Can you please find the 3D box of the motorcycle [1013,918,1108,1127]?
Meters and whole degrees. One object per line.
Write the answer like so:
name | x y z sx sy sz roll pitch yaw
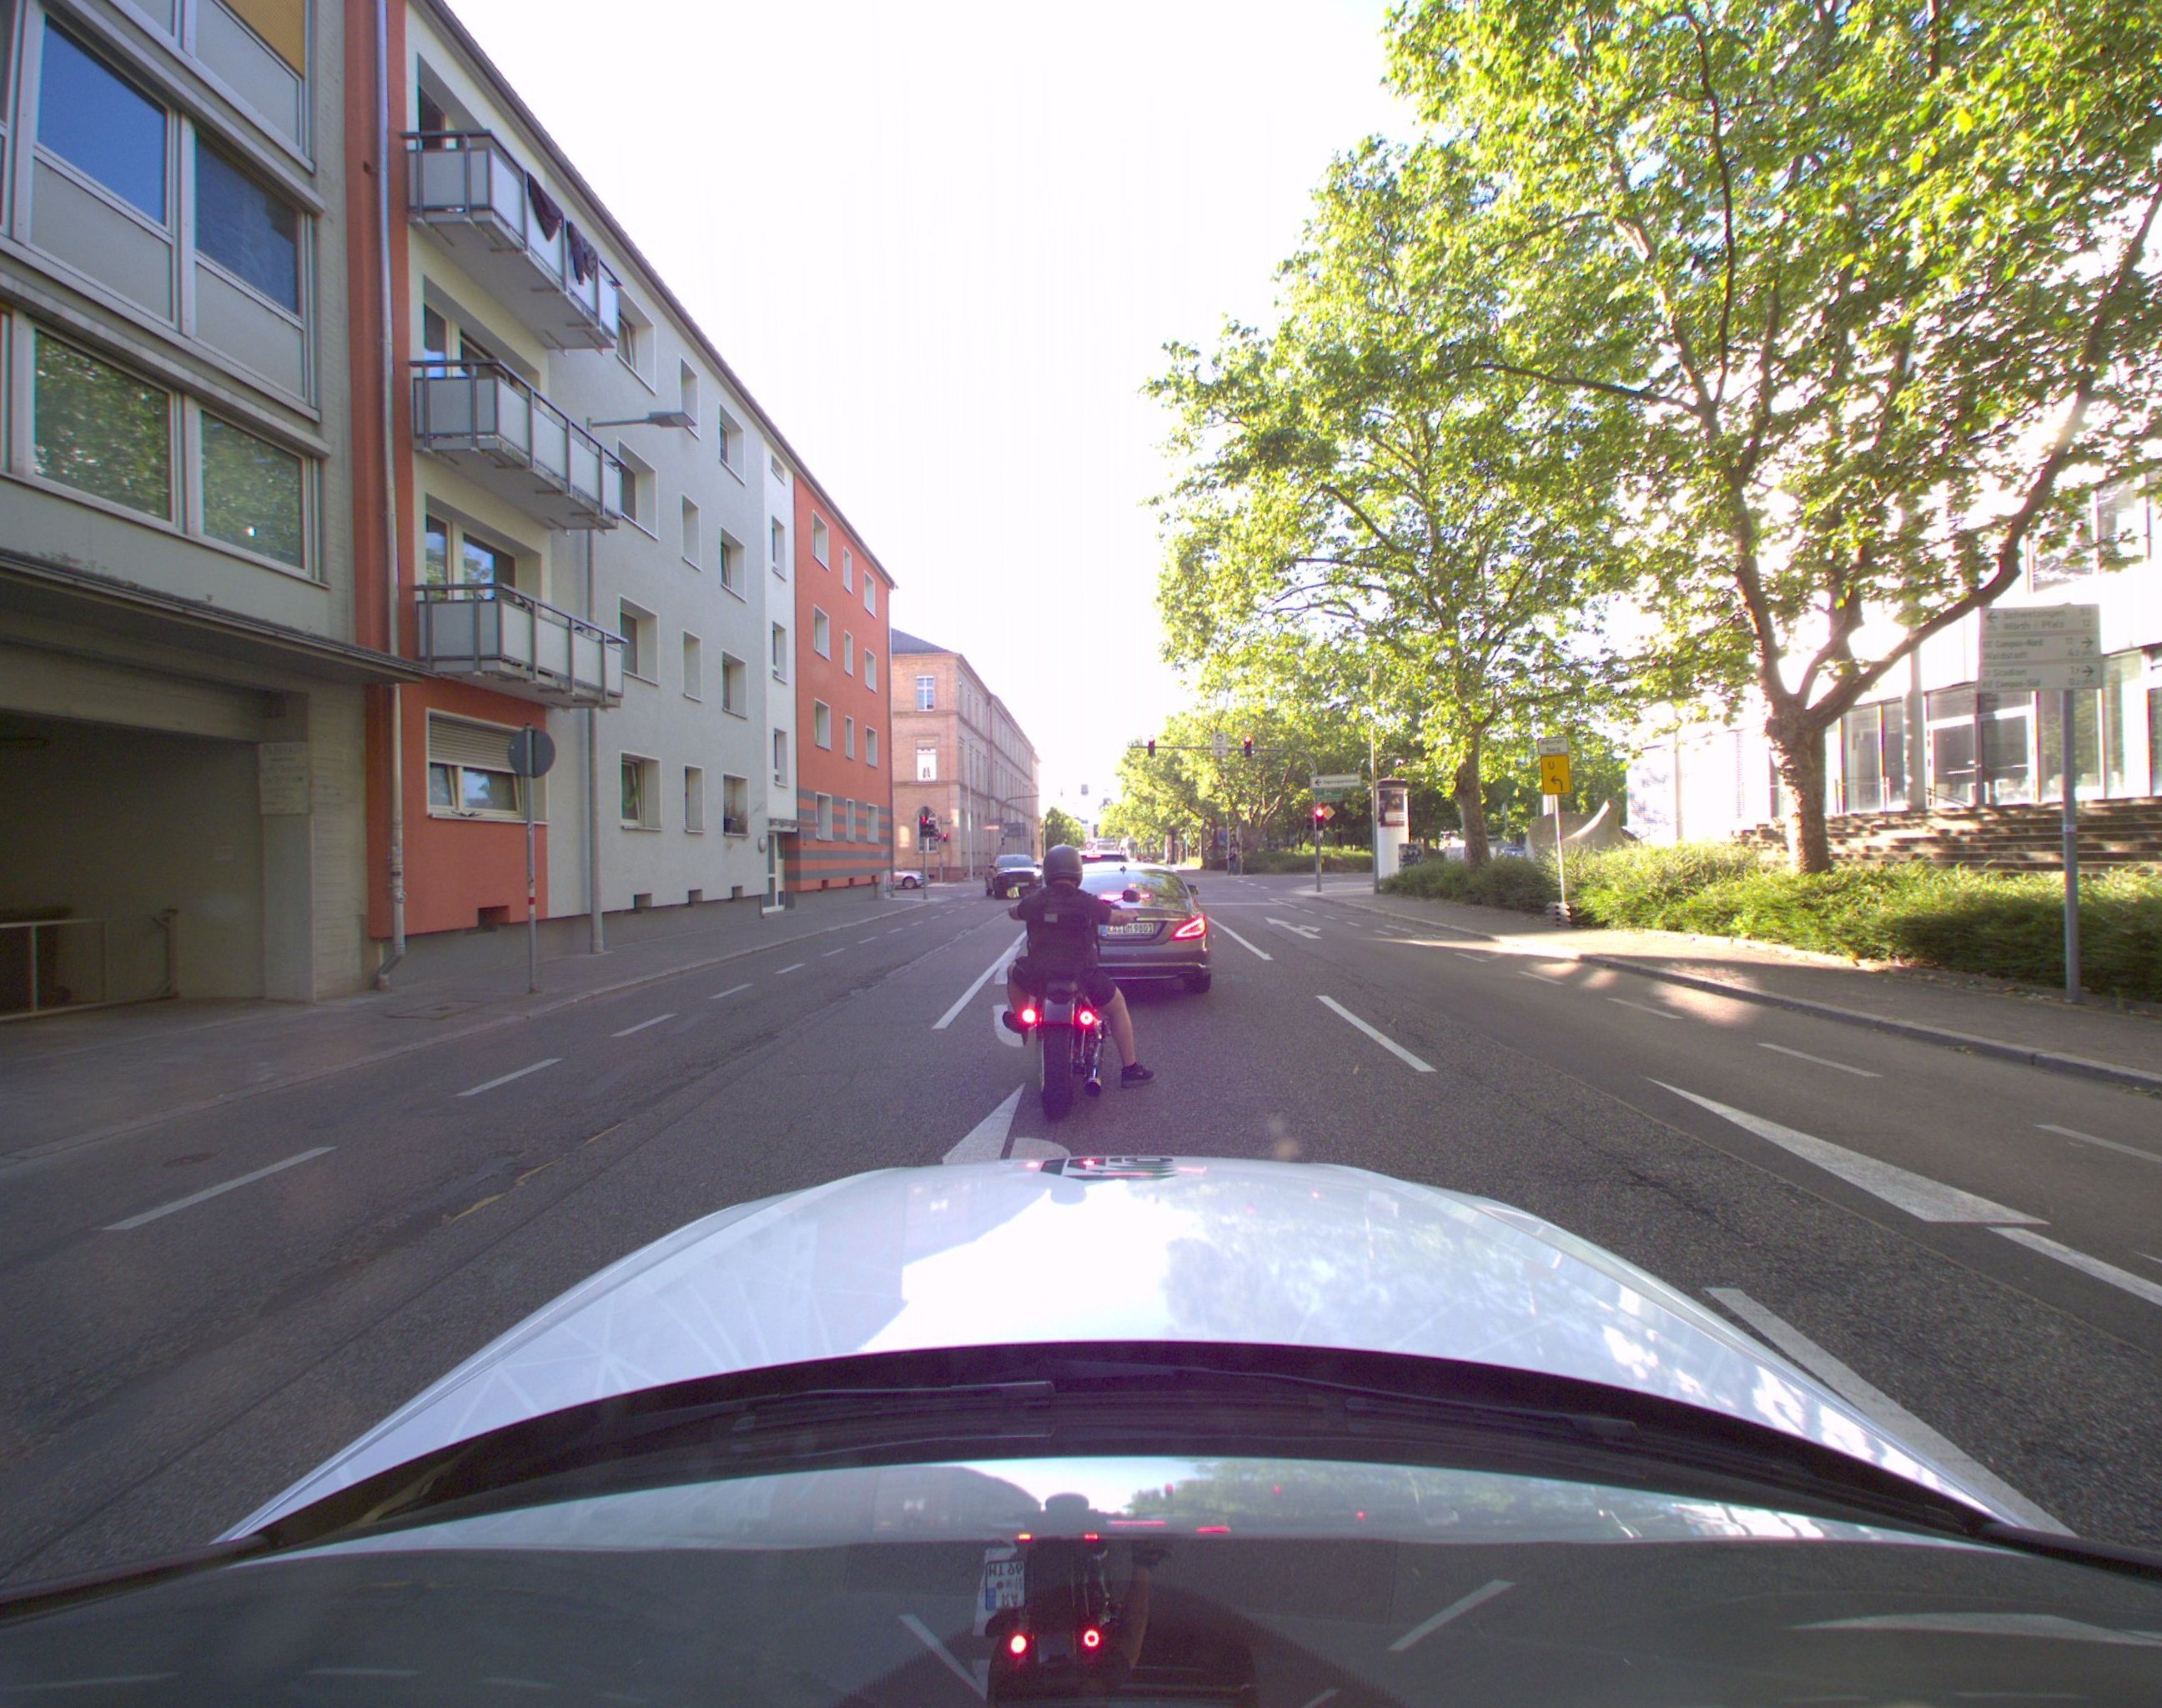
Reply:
motorcycle | -0.080 1.000 5.465 0.511 1.002 2.014 0 -1 2

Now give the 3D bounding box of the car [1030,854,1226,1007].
car | 0.513 0.736 9.737 1.875 1.449 3.821 0 0 2

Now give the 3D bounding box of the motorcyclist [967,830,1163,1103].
motorcyclist | -0.076 0.668 5.440 1.145 1.598 1.288 0 -1 1

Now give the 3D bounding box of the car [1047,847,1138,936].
car | 0.272 0.690 16.865 1.615 1.594 4.002 -1 0 2

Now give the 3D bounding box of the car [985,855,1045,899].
car | -2.624 0.854 31.558 1.850 1.570 4.369 0 -1 -11

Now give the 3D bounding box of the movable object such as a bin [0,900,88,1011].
movable object such as a bin | -11.261 1.054 8.641 0.626 1.100 0.659 0 -1 4

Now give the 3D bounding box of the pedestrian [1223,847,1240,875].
pedestrian | 10.310 0.454 55.795 0.753 1.910 0.918 0 -1 -26

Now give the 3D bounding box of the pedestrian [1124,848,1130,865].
pedestrian | 5.672 0.283 100.879 0.761 2.051 0.712 0 -1 1

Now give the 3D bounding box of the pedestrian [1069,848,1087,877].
pedestrian | -0.178 0.540 52.213 0.996 1.826 1.078 0 -1 8

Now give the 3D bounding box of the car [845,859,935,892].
car | -9.618 1.075 41.197 4.112 1.575 1.856 0 -1 -3
